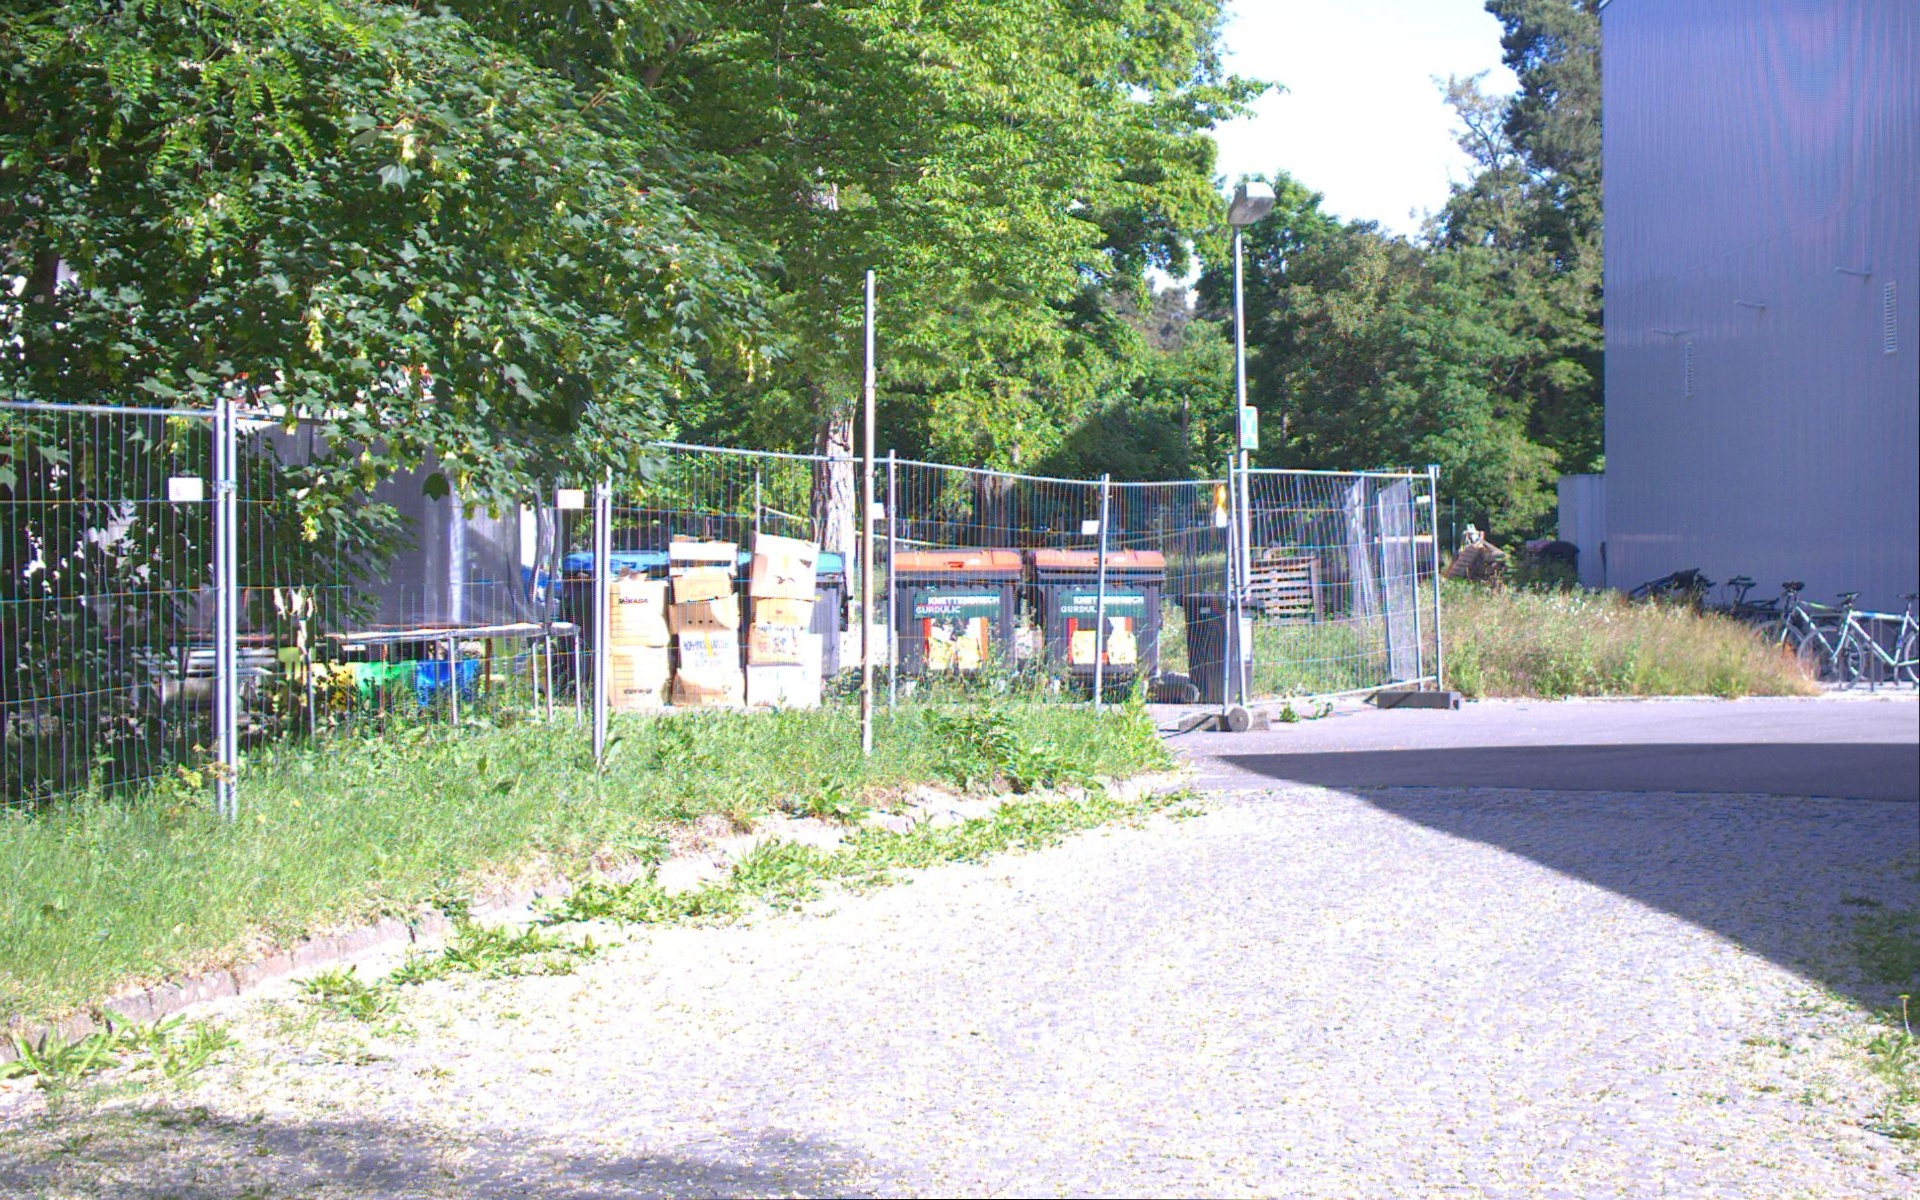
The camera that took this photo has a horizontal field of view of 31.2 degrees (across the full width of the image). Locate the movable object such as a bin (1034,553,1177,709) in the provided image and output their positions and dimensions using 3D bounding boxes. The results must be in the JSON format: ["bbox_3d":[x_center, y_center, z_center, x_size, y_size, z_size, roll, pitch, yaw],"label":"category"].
[{"bbox_3d":[1.357,0.285,32.177,1.244,1.439,0.703,0,1,-5],"label":"movable object such as a bin"}]

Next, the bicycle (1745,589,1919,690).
[{"bbox_3d":[9.511,0.428,37.451,1.792,1.079,0.525,0,1,2],"label":"bicycle"}]

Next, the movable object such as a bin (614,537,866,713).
[{"bbox_3d":[-2.054,0.218,31.867,2.288,1.586,1.175,0,1,-5],"label":"movable object such as a bin"}]

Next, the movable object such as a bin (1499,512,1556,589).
[{"bbox_3d":[15.077,-1.317,91.396,1.418,2.007,1.125,0,1,5],"label":"movable object such as a bin"}]

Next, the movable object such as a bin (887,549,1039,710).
[{"bbox_3d":[0.018,0.264,32.149,1.337,1.479,0.807,0,1,-6],"label":"movable object such as a bin"}]

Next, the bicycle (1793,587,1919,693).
[{"bbox_3d":[9.409,0.402,34.881,1.799,1.058,0.459,0,1,-5],"label":"bicycle"}]

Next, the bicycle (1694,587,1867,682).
[{"bbox_3d":[9.541,0.396,40.004,1.887,1.091,0.526,0,0,-1],"label":"bicycle"}]

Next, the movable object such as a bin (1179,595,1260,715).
[{"bbox_3d":[2.413,0.504,32.037,0.736,1.094,0.819,0,1,4],"label":"movable object such as a bin"}]

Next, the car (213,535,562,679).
[{"bbox_3d":[-8.123,0.090,49.127,4.709,1.895,2.000,-2,0,-4],"label":"car"}]

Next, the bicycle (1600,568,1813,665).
[{"bbox_3d":[9.881,0.210,45.624,2.630,1.262,1.140,0,1,5],"label":"bicycle"}]
